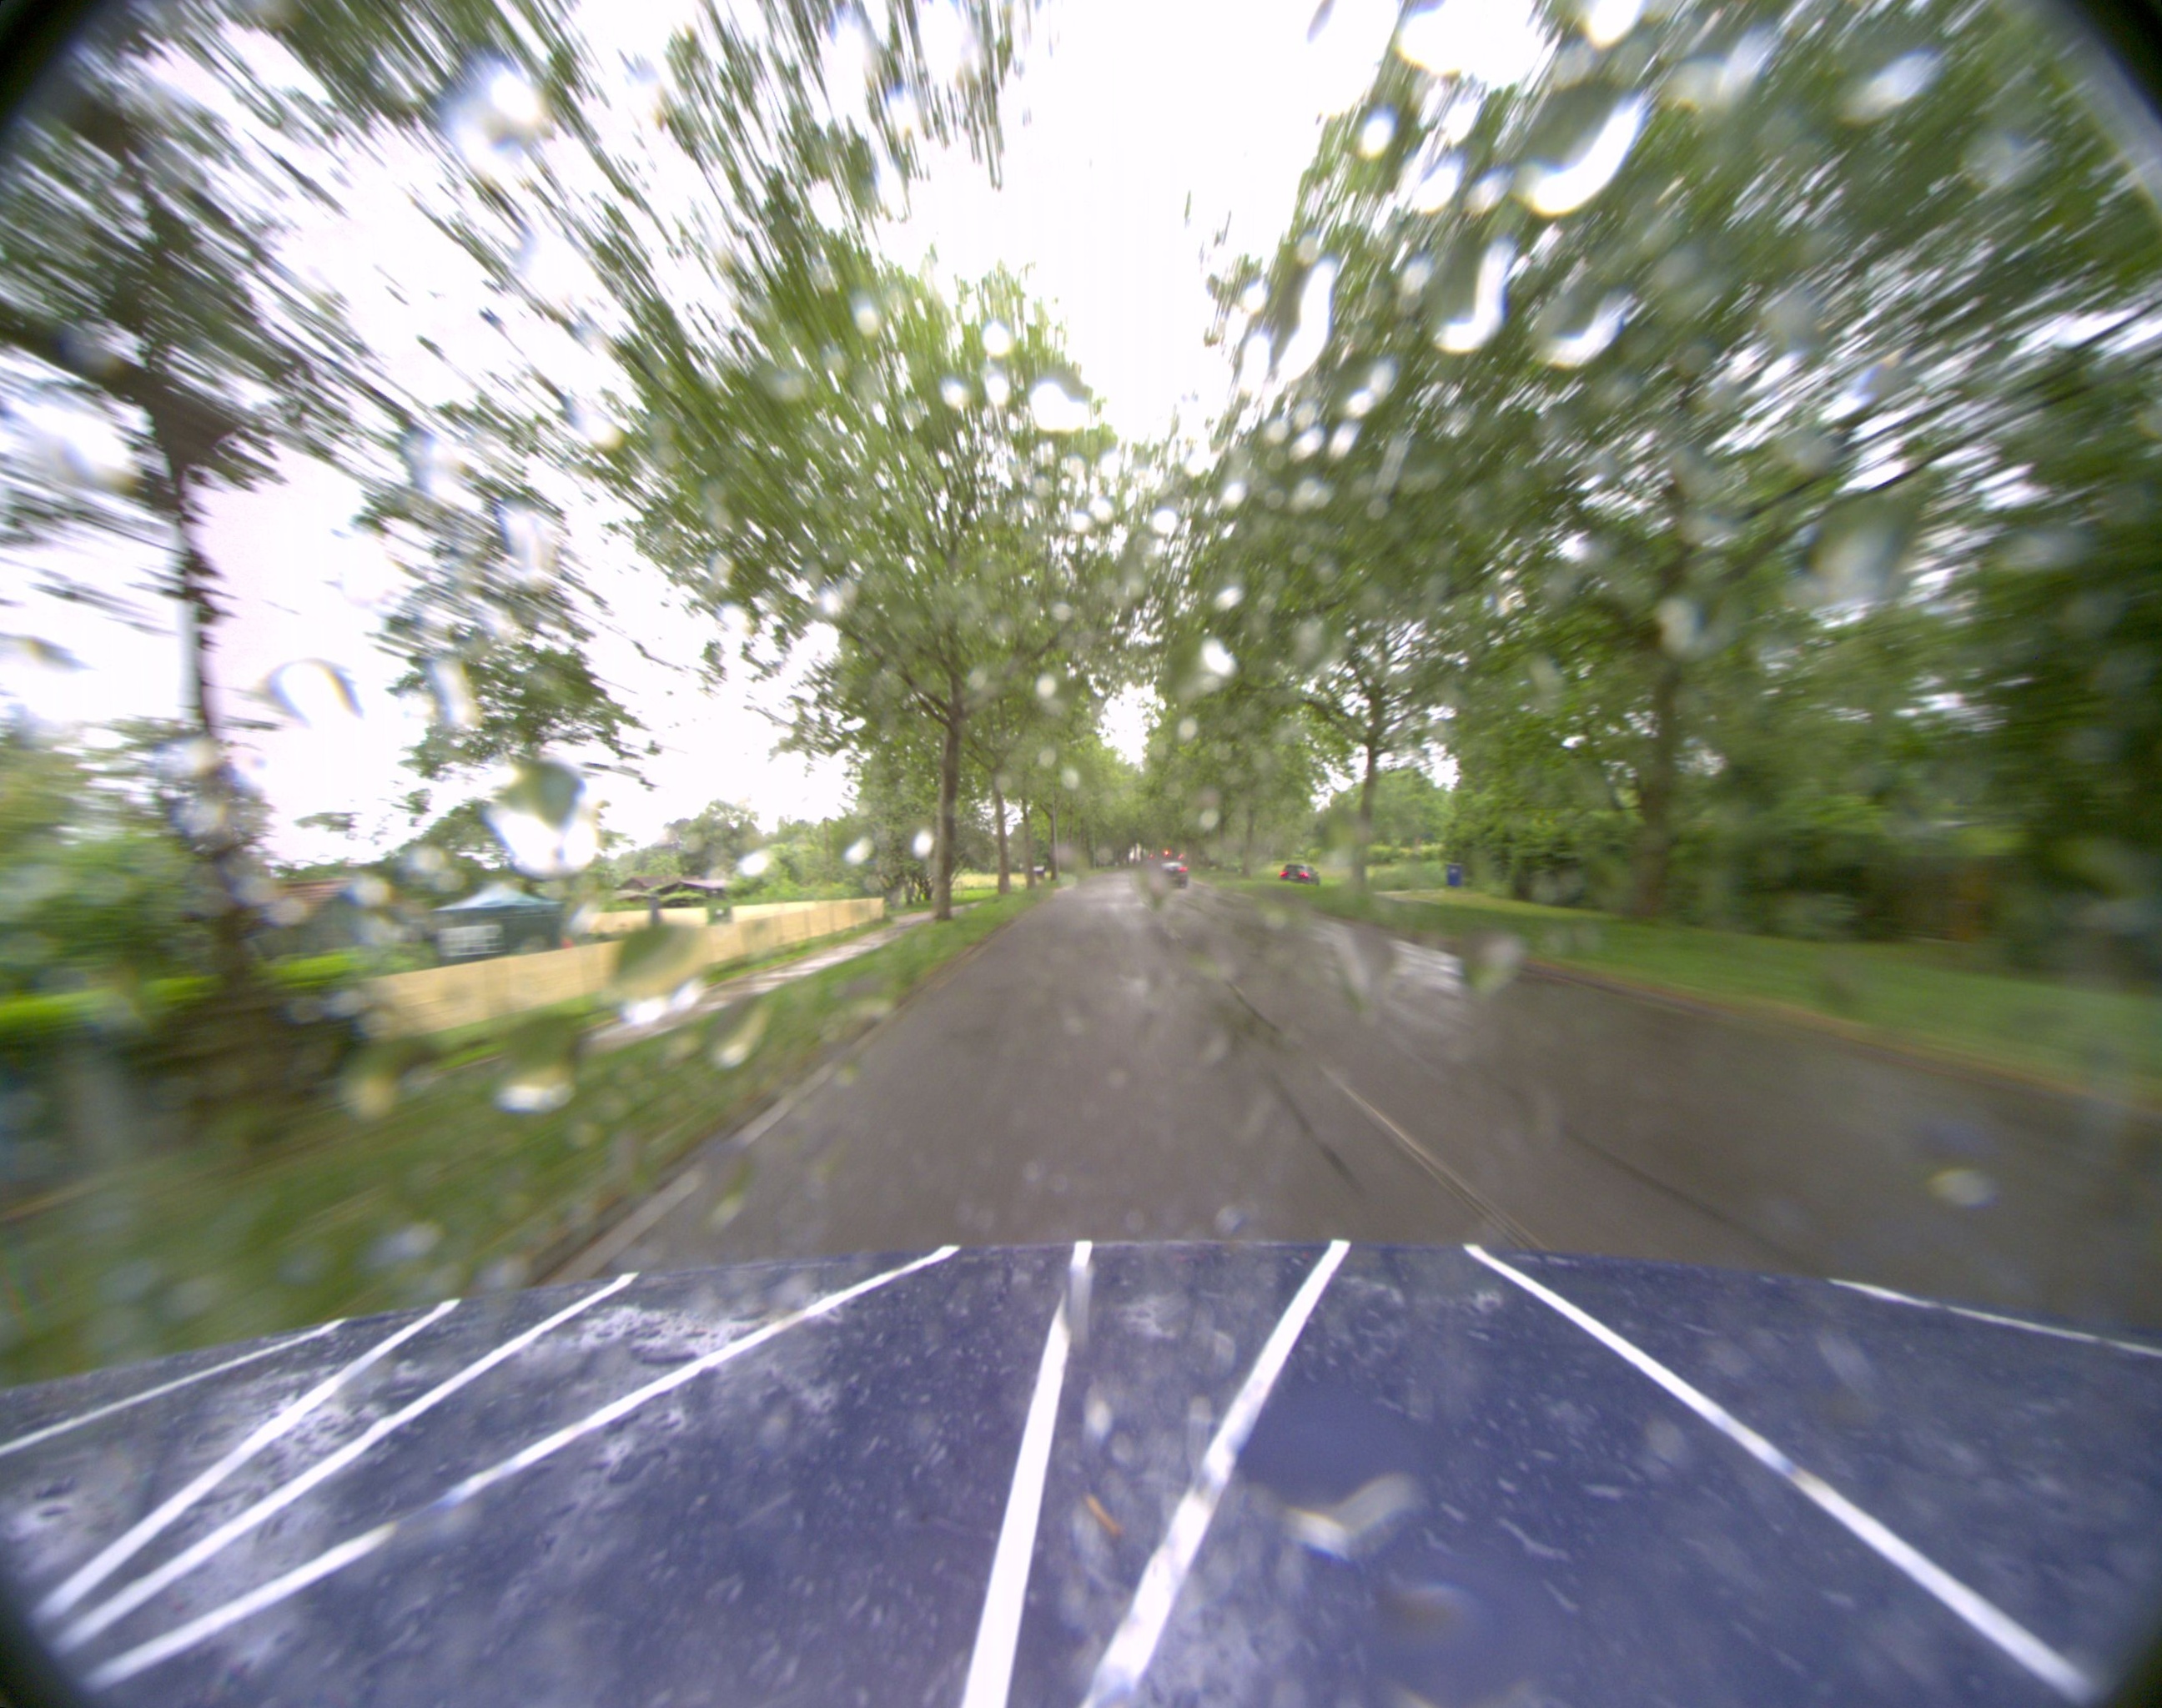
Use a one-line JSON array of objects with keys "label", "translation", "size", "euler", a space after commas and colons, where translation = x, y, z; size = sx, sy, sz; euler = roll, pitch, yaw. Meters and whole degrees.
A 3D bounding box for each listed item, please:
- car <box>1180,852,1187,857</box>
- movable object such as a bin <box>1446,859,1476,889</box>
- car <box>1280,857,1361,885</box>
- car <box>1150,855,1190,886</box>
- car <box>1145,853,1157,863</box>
[{"label": "car", "translation": [33.170, 0.078, 245.892], "size": [1.866, 1.739, 5.018], "euler": [-1, 0, 7]}, {"label": "movable object such as a bin", "translation": [18.995, 1.004, 38.002], "size": [0.965, 1.414, 0.966], "euler": [-3, 0, 1]}, {"label": "car", "translation": [14.350, 1.045, 45.693], "size": [4.307, 1.578, 1.738], "euler": [1, -3, 1]}, {"label": "car", "translation": [4.699, 0.832, 40.582], "size": [1.711, 1.477, 3.881], "euler": [-3, 0, 1]}, {"label": "car", "translation": [11.144, 0.627, 120.838], "size": [1.735, 1.415, 4.226], "euler": [-1, 0, 2]}]
